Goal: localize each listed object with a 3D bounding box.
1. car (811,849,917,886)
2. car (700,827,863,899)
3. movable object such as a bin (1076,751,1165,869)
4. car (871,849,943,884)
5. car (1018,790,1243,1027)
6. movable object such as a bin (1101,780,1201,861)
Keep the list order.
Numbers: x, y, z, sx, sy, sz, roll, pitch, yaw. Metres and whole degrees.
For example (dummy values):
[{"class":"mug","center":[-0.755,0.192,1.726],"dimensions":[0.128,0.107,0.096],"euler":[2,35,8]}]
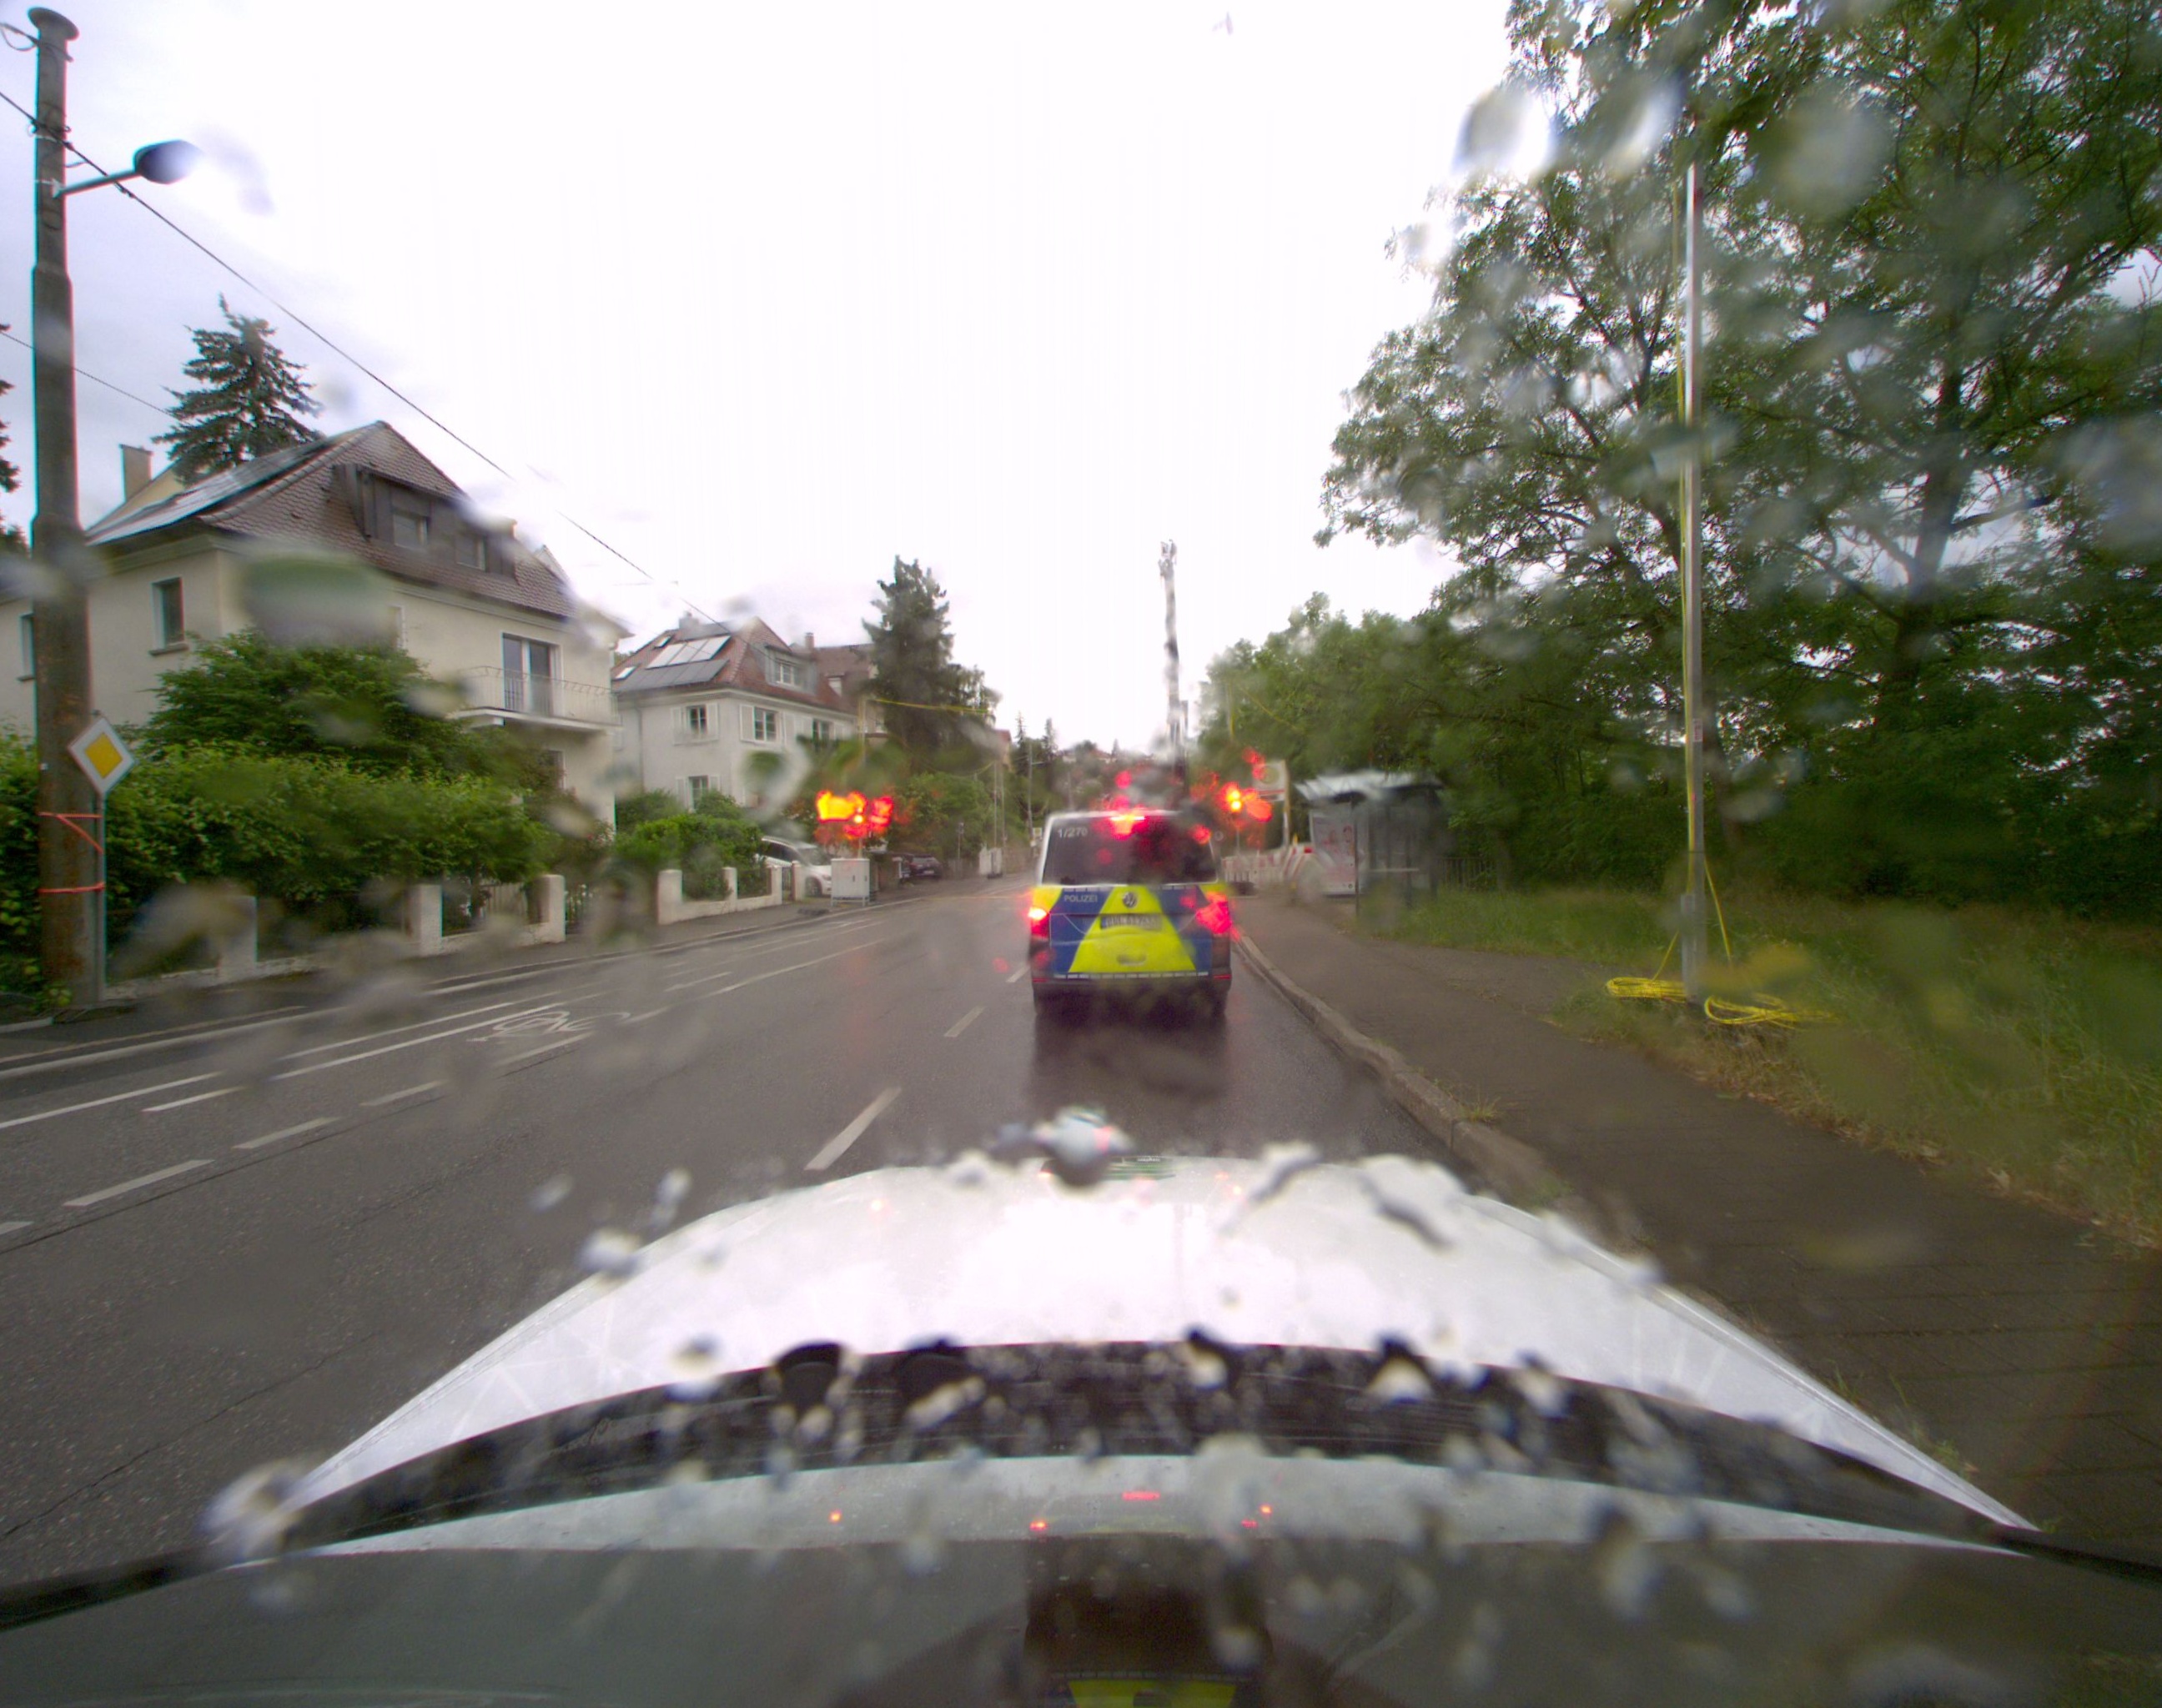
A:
[{"class":"car","center":[-9.365,0.569,35.225],"dimensions":[3.958,1.525,1.948],"euler":[-1,-1,15]},{"class":"car","center":[-10.263,0.236,27.982],"dimensions":[4.927,1.616,1.872],"euler":[9,4,15]},{"class":"movable object such as a bin","center":[1.675,-1.646,31.903],"dimensions":[2.862,4.170,4.499],"euler":[-2,1,9]},{"class":"car","center":[-8.173,0.559,38.089],"dimensions":[1.795,1.525,3.955],"euler":[0,0,-37]},{"class":"car","center":[0.492,0.484,9.177],"dimensions":[1.901,2.010,4.441],"euler":[0,-1,2]},{"class":"movable object such as a bin","center":[4.919,-2.160,55.939],"dimensions":[3.646,5.066,7.209],"euler":[-3,-1,34]}]
